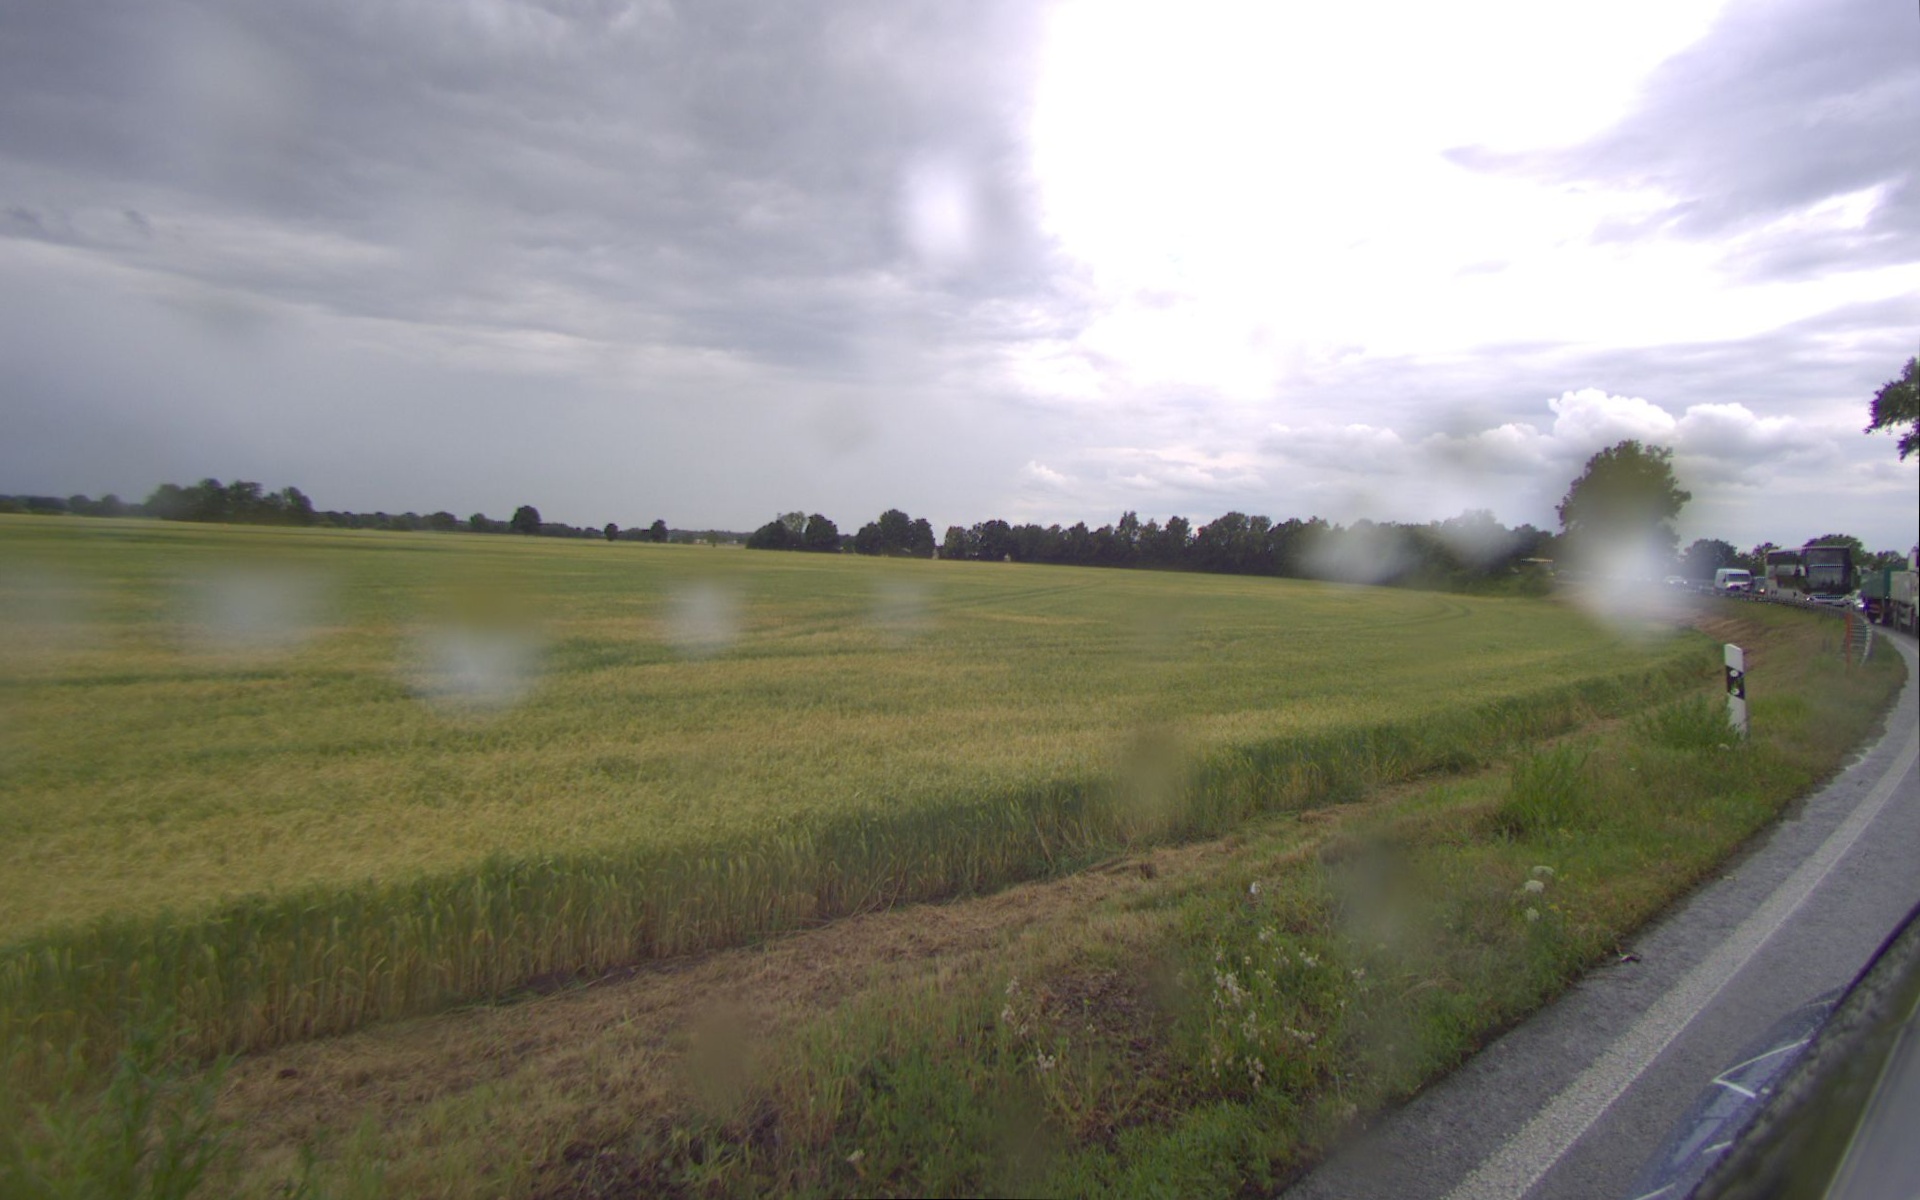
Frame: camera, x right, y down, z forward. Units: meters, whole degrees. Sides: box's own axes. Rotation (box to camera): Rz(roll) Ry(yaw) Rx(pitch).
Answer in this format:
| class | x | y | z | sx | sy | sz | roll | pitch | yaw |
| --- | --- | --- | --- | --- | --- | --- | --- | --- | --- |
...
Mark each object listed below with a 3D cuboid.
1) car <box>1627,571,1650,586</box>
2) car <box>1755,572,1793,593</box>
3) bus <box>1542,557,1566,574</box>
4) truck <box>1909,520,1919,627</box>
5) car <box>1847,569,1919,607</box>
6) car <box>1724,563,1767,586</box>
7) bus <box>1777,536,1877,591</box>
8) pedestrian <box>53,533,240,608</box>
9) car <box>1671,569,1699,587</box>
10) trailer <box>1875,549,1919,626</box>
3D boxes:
| class | x | y | z | sx | sy | sz | roll | pitch | yaw |
| --- | --- | --- | --- | --- | --- | --- | --- | --- | --- |
| car | 96.102 | -3.033 | 143.315 | 1.979 | 2.038 | 4.137 | 0 | 1 | 24 |
| car | 66.207 | -1.439 | 82.312 | 1.800 | 1.597 | 3.958 | 0 | 1 | 30 |
| bus | 111.249 | -6.451 | 189.669 | 1.970 | 2.951 | 6.981 | 0 | 1 | 14 |
| truck | 34.194 | -0.903 | 33.924 | 2.970 | 3.655 | 5.997 | 0 | 1 | 39 |
| car | 48.496 | -0.653 | 53.227 | 2.029 | 1.865 | 5.273 | 0 | 2 | 33 |
| car | 72.222 | -2.378 | 93.084 | 1.979 | 2.038 | 5.291 | 0 | 1 | 25 |
| bus | 58.974 | -2.558 | 69.252 | 2.943 | 3.353 | 14.675 | 0 | 2 | 32 |
| pedestrian | -23.856 | -0.856 | 29.781 | 1.990 | 2.039 | 3.945 | 0 | 2 | 38 |
| car | 84.411 | -2.617 | 117.871 | 1.980 | 2.038 | 4.194 | 0 | 1 | 26 |
| trailer | 39.407 | -0.629 | 40.566 | 2.970 | 2.665 | 15.468 | 0 | 2 | 38 |
